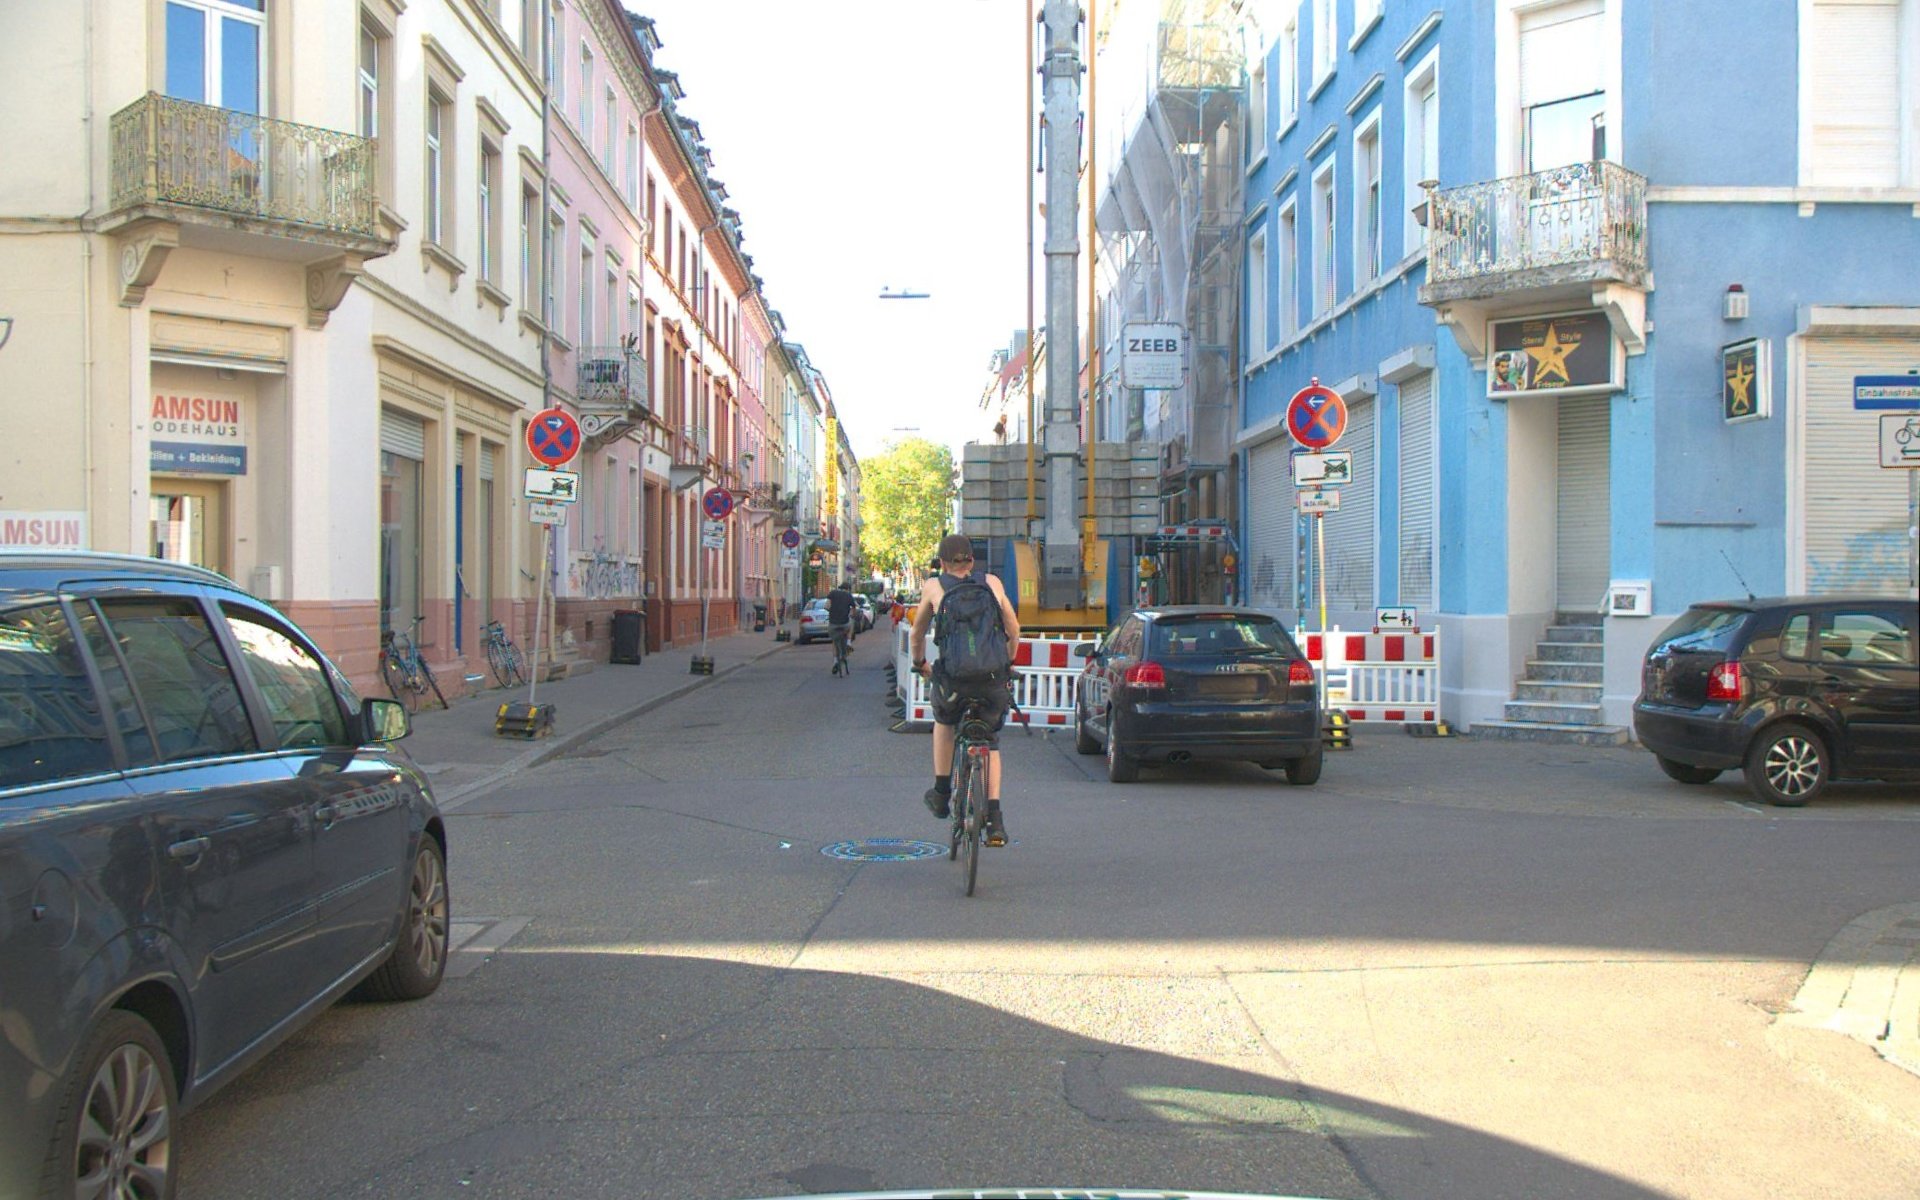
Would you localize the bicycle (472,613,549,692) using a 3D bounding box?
[{"bbox_3d":[-6.347,0.717,23.434,0.609,1.040,1.817,1,0,-1],"label":"bicycle"}]

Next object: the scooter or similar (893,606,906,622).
[{"bbox_3d":[-3.633,0.837,98.880,0.755,0.888,0.770,1,0,-5],"label":"scooter or similar"}]

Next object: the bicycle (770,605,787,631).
[{"bbox_3d":[-7.976,0.797,72.799,0.580,1.108,2.078,1,0,-2],"label":"bicycle"}]

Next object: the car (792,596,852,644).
[{"bbox_3d":[-4.427,0.638,53.590,1.676,1.407,4.504,-2,0,-2],"label":"car"}]

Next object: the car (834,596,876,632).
[{"bbox_3d":[-4.497,0.591,71.164,1.638,1.467,4.163,-2,0,-2],"label":"car"}]

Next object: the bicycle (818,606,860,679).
[{"bbox_3d":[-2.235,0.762,30.786,0.688,1.229,2.341,-1,1,-2],"label":"bicycle"}]

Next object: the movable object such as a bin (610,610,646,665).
[{"bbox_3d":[-6.434,0.723,32.085,0.593,1.053,0.596,1,-1,-3],"label":"movable object such as a bin"}]

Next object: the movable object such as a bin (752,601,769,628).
[{"bbox_3d":[-7.178,0.530,59.599,0.532,0.961,0.487,1,-1,-1],"label":"movable object such as a bin"}]

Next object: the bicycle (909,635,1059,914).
[{"bbox_3d":[0.077,0.822,8.729,0.688,1.229,2.341,0,0,-2],"label":"bicycle"}]

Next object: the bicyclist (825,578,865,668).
[{"bbox_3d":[-2.119,0.413,30.639,0.688,1.633,0.812,-1,1,-2],"label":"bicyclist"}]

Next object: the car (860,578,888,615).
[{"bbox_3d":[-6.170,-0.253,118.634,1.872,2.540,4.162,-1,0,-4],"label":"car"}]

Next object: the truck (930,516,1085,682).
[{"bbox_3d":[0.773,-0.001,32.583,2.607,2.863,7.390,1,0,-1],"label":"truck"}]

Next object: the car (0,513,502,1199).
[{"bbox_3d":[-2.609,0.670,4.634,1.688,1.633,4.163,-2,1,-4],"label":"car"}]

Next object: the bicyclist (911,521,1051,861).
[{"bbox_3d":[0.087,0.446,8.643,0.688,1.662,1.089,0,0,-2],"label":"bicyclist"}]

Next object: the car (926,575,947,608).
[{"bbox_3d":[-2.894,-1.025,202.968,2.261,3.833,6.767,-2,0,-2],"label":"car"}]

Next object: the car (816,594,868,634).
[{"bbox_3d":[-4.536,0.506,64.220,1.675,1.407,4.356,0,1,0],"label":"car"}]

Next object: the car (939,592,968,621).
[{"bbox_3d":[-0.401,0.381,97.709,1.588,1.577,3.998,-2,0,-2],"label":"car"}]

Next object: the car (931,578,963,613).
[{"bbox_3d":[-1.037,-0.326,130.065,2.261,2.582,6.767,-2,0,-2],"label":"car"}]

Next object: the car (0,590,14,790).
[{"bbox_3d":[-9.066,0.659,11.370,4.058,1.481,1.757,0,0,-4],"label":"car"}]

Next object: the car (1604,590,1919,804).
[{"bbox_3d":[7.027,0.675,12.343,3.789,1.479,1.676,0,0,-2],"label":"car"}]

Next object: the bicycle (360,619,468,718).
[{"bbox_3d":[-6.187,0.753,18.834,0.591,1.040,1.817,4,-1,-1],"label":"bicycle"}]

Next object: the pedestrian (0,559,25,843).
[{"bbox_3d":[-6.153,0.613,9.776,0.680,1.730,0.865,4,2,-2],"label":"pedestrian"}]

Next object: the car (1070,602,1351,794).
[{"bbox_3d":[2.078,0.761,14.809,1.736,1.459,4.032,1,0,-2],"label":"car"}]

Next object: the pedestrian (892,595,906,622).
[{"bbox_3d":[-3.672,0.487,99.312,0.755,1.606,0.899,1,-1,-5],"label":"pedestrian"}]
